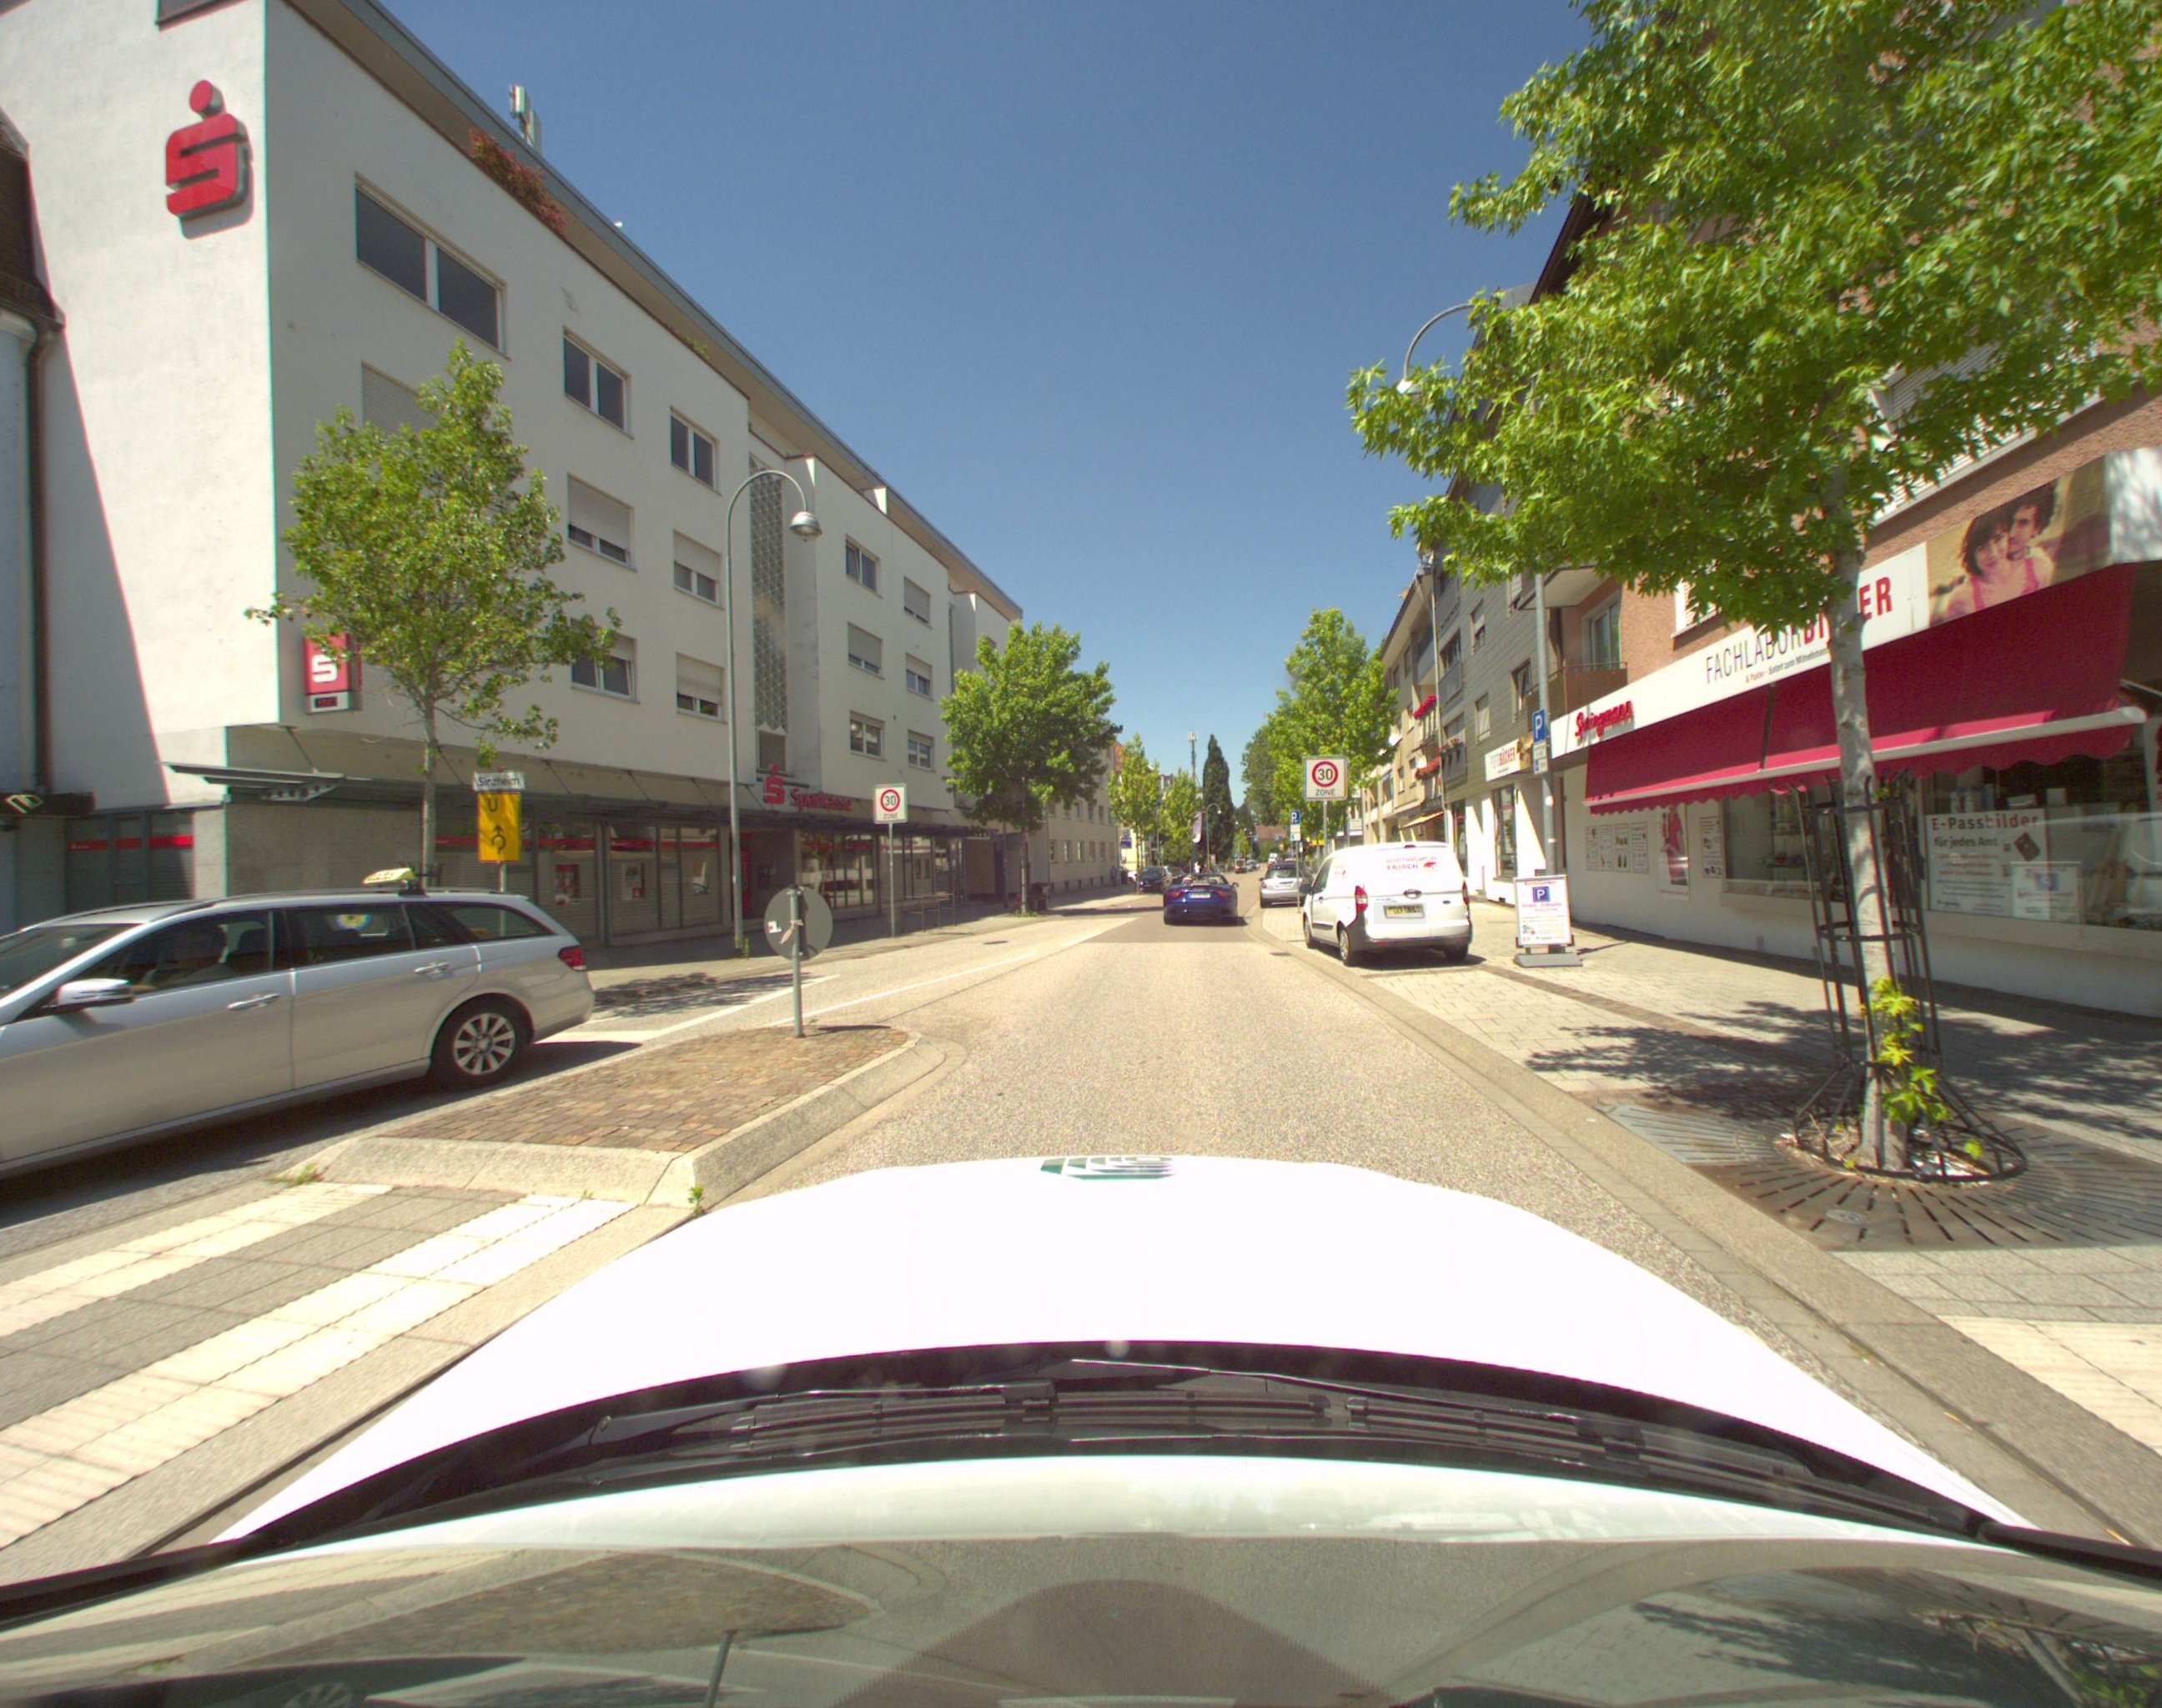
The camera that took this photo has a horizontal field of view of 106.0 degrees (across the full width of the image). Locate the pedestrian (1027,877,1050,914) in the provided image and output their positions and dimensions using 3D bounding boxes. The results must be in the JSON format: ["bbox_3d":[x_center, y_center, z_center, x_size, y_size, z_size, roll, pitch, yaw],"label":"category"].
[{"bbox_3d":[-1.633,1.608,31.321,0.562,1.372,0.670,-3,-2,23],"label":"pedestrian"}]

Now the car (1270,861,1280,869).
[{"bbox_3d":[37.356,2.158,156.540,1.757,1.476,4.152,-2,-1,14],"label":"car"}]

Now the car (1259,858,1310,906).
[{"bbox_3d":[7.348,0.983,29.388,1.611,1.559,3.855,-3,-1,14],"label":"car"}]

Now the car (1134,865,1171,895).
[{"bbox_3d":[4.610,1.600,51.981,1.717,1.740,4.408,1,0,13],"label":"car"}]

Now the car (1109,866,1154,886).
[{"bbox_3d":[4.815,2.072,77.546,4.032,1.823,1.766,-1,-1,12],"label":"car"}]

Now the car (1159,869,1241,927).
[{"bbox_3d":[3.141,1.103,22.009,1.966,1.398,4.635,0,-1,6],"label":"car"}]

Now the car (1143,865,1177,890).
[{"bbox_3d":[5.618,1.626,57.725,1.811,1.619,4.408,-1,0,13],"label":"car"}]

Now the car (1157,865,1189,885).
[{"bbox_3d":[7.213,1.641,63.746,1.740,1.474,4.340,-1,0,16],"label":"car"}]

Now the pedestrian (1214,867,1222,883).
[{"bbox_3d":[16.960,2.577,100.579,0.843,1.915,0.764,-4,1,13],"label":"pedestrian"}]

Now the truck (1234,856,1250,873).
[{"bbox_3d":[22.153,1.384,112.013,1.791,2.117,4.733,-4,-1,15],"label":"truck"}]

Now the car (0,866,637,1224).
[{"bbox_3d":[-5.624,0.958,5.033,1.978,1.593,5.021,-4,-1,17],"label":"car"}]

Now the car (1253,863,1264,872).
[{"bbox_3d":[32.684,2.459,149.920,1.757,1.476,4.153,-4,-1,14],"label":"car"}]

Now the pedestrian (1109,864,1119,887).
[{"bbox_3d":[2.491,1.609,61.621,0.654,1.680,0.631,-4,1,-4],"label":"pedestrian"}]

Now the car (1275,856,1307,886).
[{"bbox_3d":[14.839,1.154,57.425,1.978,1.798,4.589,-4,0,16],"label":"car"}]

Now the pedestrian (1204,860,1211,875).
[{"bbox_3d":[13.001,1.408,83.503,0.575,1.474,0.566,-2,-1,13],"label":"pedestrian"}]

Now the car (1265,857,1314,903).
[{"bbox_3d":[8.734,1.027,34.118,1.751,1.706,4.724,-4,-1,15],"label":"car"}]

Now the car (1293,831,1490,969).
[{"bbox_3d":[4.617,0.645,12.747,1.739,1.724,3.914,-4,-1,4],"label":"car"}]

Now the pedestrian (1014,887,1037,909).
[{"bbox_3d":[-2.203,1.760,32.456,0.659,0.858,0.736,-3,-5,23],"label":"pedestrian"}]

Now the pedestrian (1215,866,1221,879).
[{"bbox_3d":[16.930,2.315,100.617,0.583,1.574,0.784,-2,-1,13],"label":"pedestrian"}]

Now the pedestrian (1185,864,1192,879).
[{"bbox_3d":[10.814,1.752,81.798,0.575,1.474,0.566,-2,-1,13],"label":"pedestrian"}]
